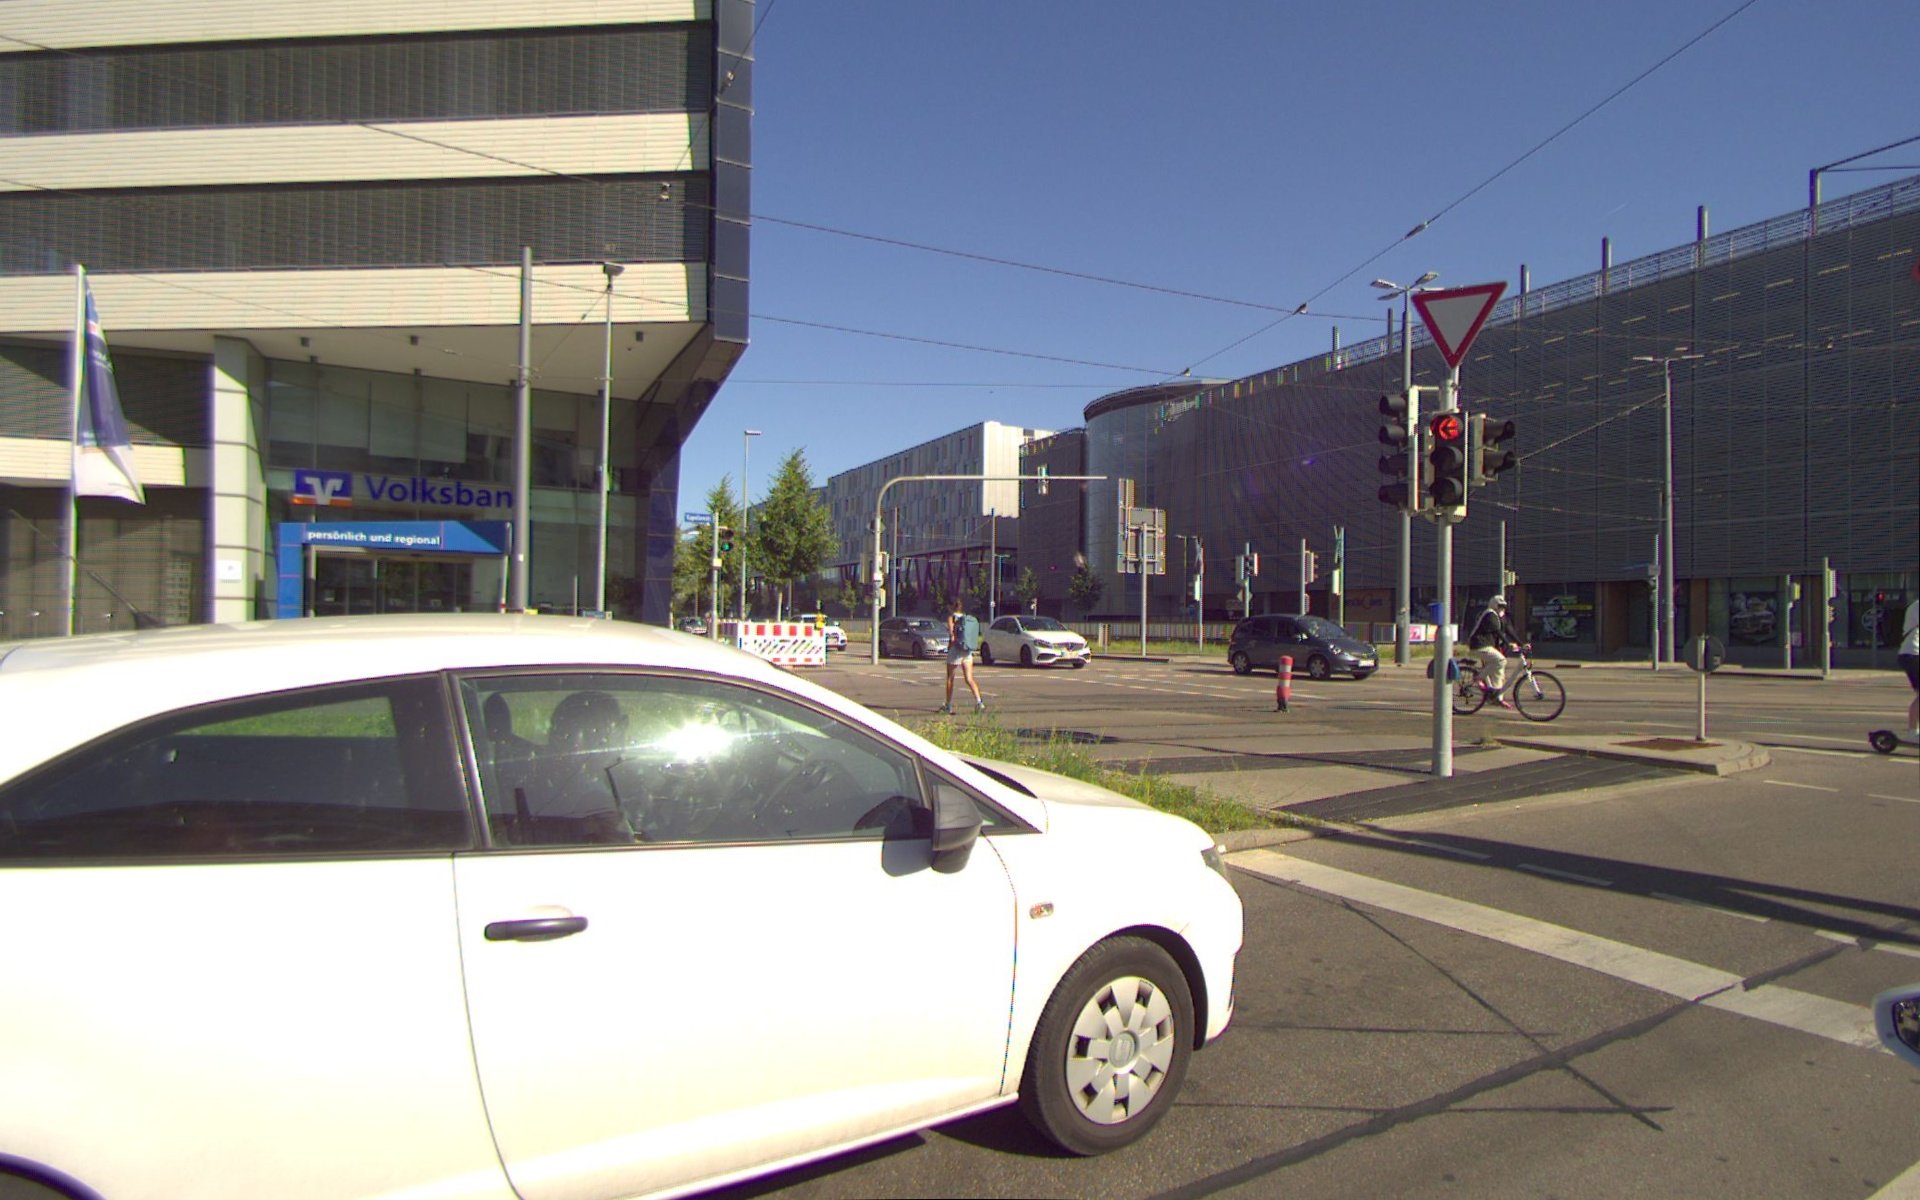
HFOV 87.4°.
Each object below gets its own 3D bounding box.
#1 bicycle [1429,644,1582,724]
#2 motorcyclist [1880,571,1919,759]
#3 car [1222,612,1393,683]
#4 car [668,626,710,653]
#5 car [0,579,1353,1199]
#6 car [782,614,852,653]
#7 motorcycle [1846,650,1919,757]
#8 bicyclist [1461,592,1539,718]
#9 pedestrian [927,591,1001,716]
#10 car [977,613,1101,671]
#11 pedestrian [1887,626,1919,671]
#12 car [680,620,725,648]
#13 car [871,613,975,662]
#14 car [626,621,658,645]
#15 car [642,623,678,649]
[{"bbox_3d":[8.050,1.208,14.914,0.687,1.050,1.915,1,-1,-32],"label":"bicycle"},{"bbox_3d":[10.611,0.711,11.043,0.491,2.040,0.625,1,-1,-30],"label":"motorcyclist"},{"bbox_3d":[8.391,1.106,24.533,1.800,1.545,3.737,2,-1,-28],"label":"car"},{"bbox_3d":[-18.258,2.635,67.445,1.824,1.673,4.221,1,-1,-28],"label":"car"},{"bbox_3d":[-0.860,0.733,2.776,3.738,1.442,1.624,2,1,-30],"label":"car"},{"bbox_3d":[-6.592,1.509,45.866,1.824,1.673,4.221,1,-1,-28],"label":"car"},{"bbox_3d":[10.592,1.141,11.050,0.477,1.136,1.181,1,-1,-30],"label":"motorcycle"},{"bbox_3d":[8.024,0.799,14.934,0.755,1.812,0.758,1,-1,-33],"label":"bicyclist"},{"bbox_3d":[0.049,0.753,14.434,0.704,1.730,0.881,1,-1,-30],"label":"pedestrian"},{"bbox_3d":[2.122,1.138,28.188,1.885,1.483,4.070,1,-1,-21],"label":"car"},{"bbox_3d":[40.164,2.048,42.659,0.804,1.893,0.906,1,-1,13],"label":"pedestrian"},{"bbox_3d":[-16.249,2.138,63.296,1.824,1.673,4.221,1,-1,-28],"label":"car"},{"bbox_3d":[-1.400,1.315,35.865,1.976,1.637,4.256,1,-1,-30],"label":"car"},{"bbox_3d":[-26.395,2.752,83.339,1.919,1.903,3.910,1,-1,-26],"label":"car"},{"bbox_3d":[-22.725,2.707,76.011,1.974,1.873,3.974,1,-1,-26],"label":"car"}]
